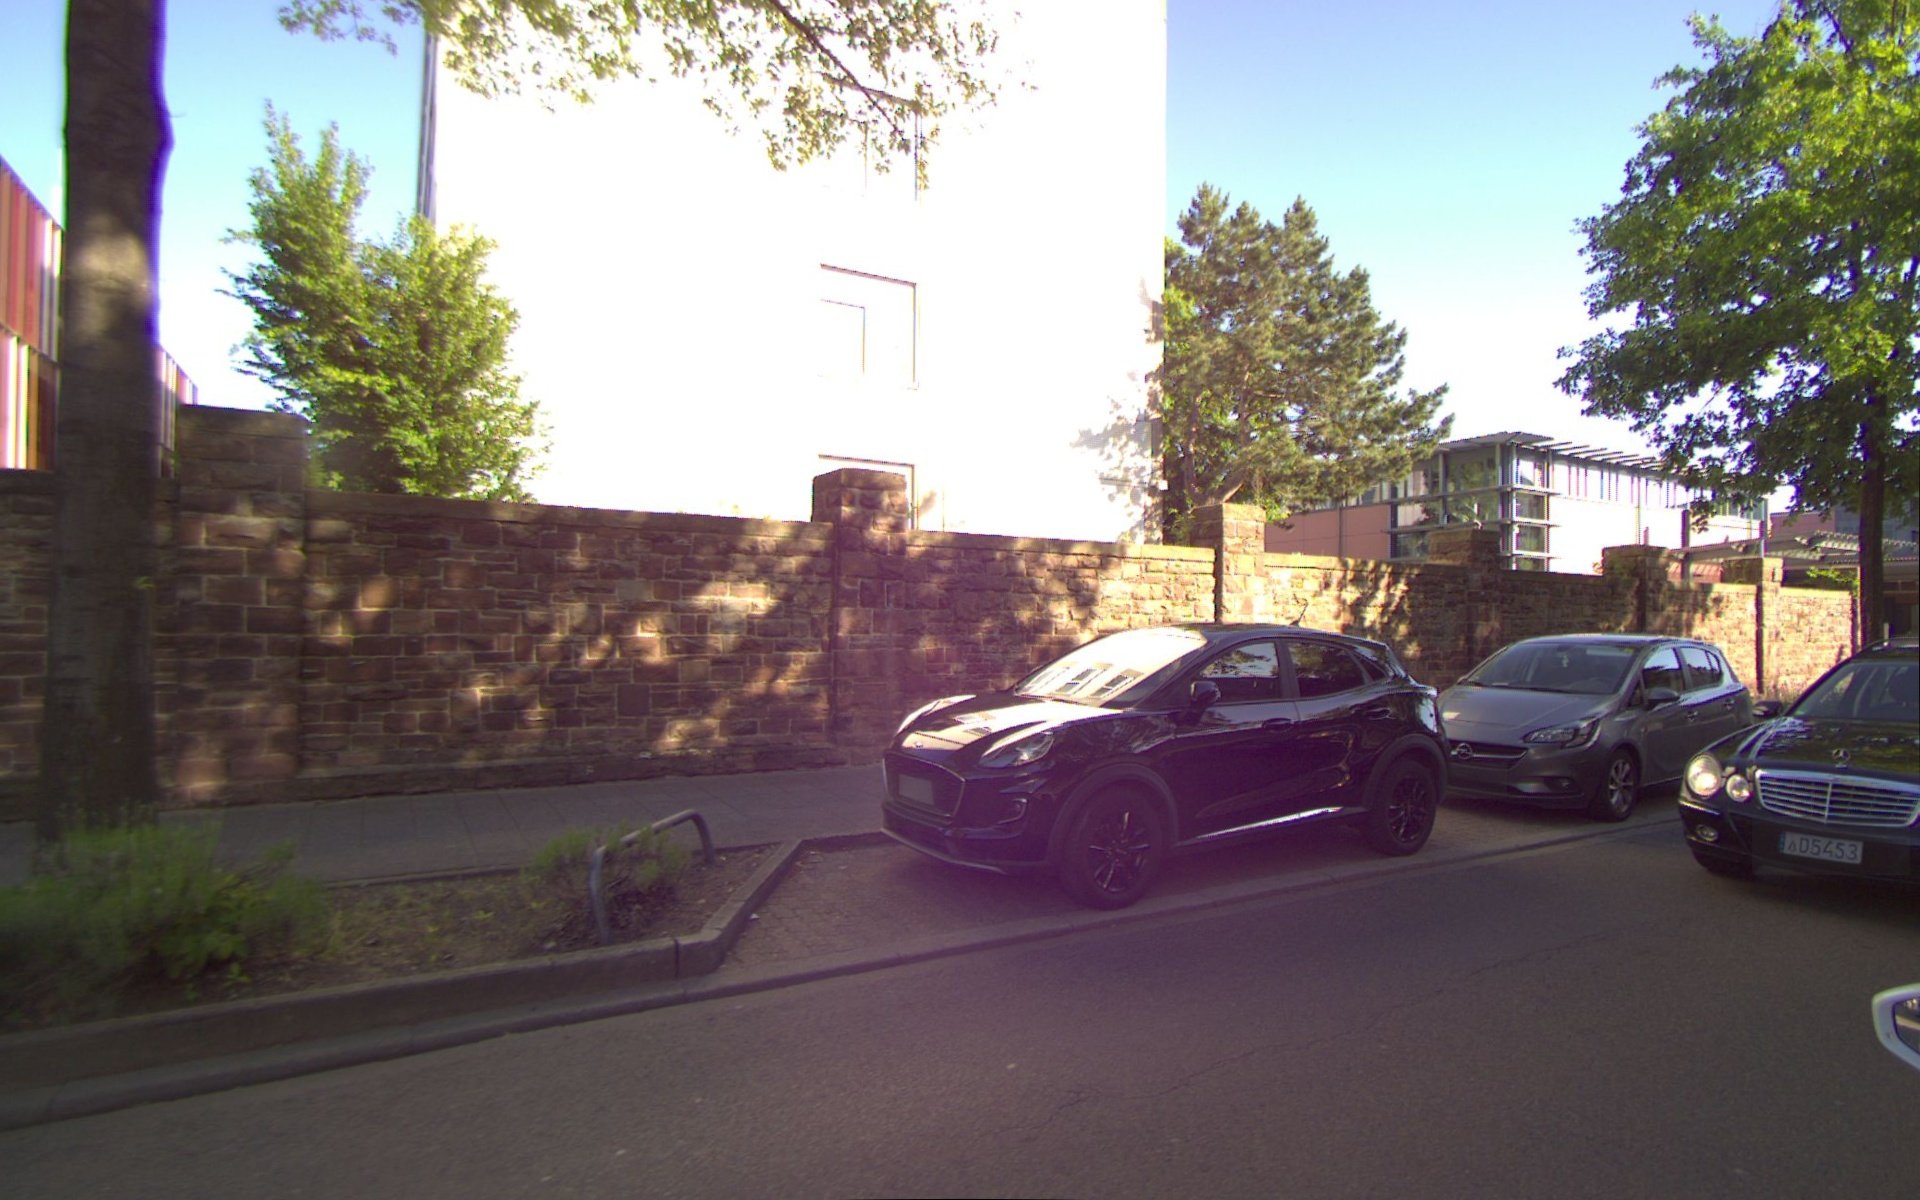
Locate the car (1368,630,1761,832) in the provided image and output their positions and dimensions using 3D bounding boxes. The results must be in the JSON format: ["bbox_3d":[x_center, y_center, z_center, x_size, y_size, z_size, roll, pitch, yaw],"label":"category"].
[{"bbox_3d":[5.660,1.049,9.286,3.799,1.441,1.676,2,0,-34],"label":"car"}]

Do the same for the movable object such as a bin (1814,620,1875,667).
[{"bbox_3d":[37.015,1.824,42.032,2.411,1.889,1.186,2,0,-31],"label":"movable object such as a bin"}]

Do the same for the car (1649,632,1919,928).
[{"bbox_3d":[6.240,0.933,6.231,3.925,1.455,1.812,1,-3,-32],"label":"car"}]

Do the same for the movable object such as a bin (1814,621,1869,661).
[{"bbox_3d":[39.604,1.829,45.120,2.412,1.709,1.198,2,0,-33],"label":"movable object such as a bin"}]

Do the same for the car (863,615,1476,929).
[{"bbox_3d":[1.503,0.906,6.669,3.998,1.535,1.566,2,-1,-31],"label":"car"}]

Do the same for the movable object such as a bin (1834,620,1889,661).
[{"bbox_3d":[41.745,1.888,46.507,2.644,1.805,1.198,2,0,-33],"label":"movable object such as a bin"}]

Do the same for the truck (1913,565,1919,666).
[{"bbox_3d":[39.783,0.694,38.524,7.342,3.761,2.719,2,0,-31],"label":"truck"}]
